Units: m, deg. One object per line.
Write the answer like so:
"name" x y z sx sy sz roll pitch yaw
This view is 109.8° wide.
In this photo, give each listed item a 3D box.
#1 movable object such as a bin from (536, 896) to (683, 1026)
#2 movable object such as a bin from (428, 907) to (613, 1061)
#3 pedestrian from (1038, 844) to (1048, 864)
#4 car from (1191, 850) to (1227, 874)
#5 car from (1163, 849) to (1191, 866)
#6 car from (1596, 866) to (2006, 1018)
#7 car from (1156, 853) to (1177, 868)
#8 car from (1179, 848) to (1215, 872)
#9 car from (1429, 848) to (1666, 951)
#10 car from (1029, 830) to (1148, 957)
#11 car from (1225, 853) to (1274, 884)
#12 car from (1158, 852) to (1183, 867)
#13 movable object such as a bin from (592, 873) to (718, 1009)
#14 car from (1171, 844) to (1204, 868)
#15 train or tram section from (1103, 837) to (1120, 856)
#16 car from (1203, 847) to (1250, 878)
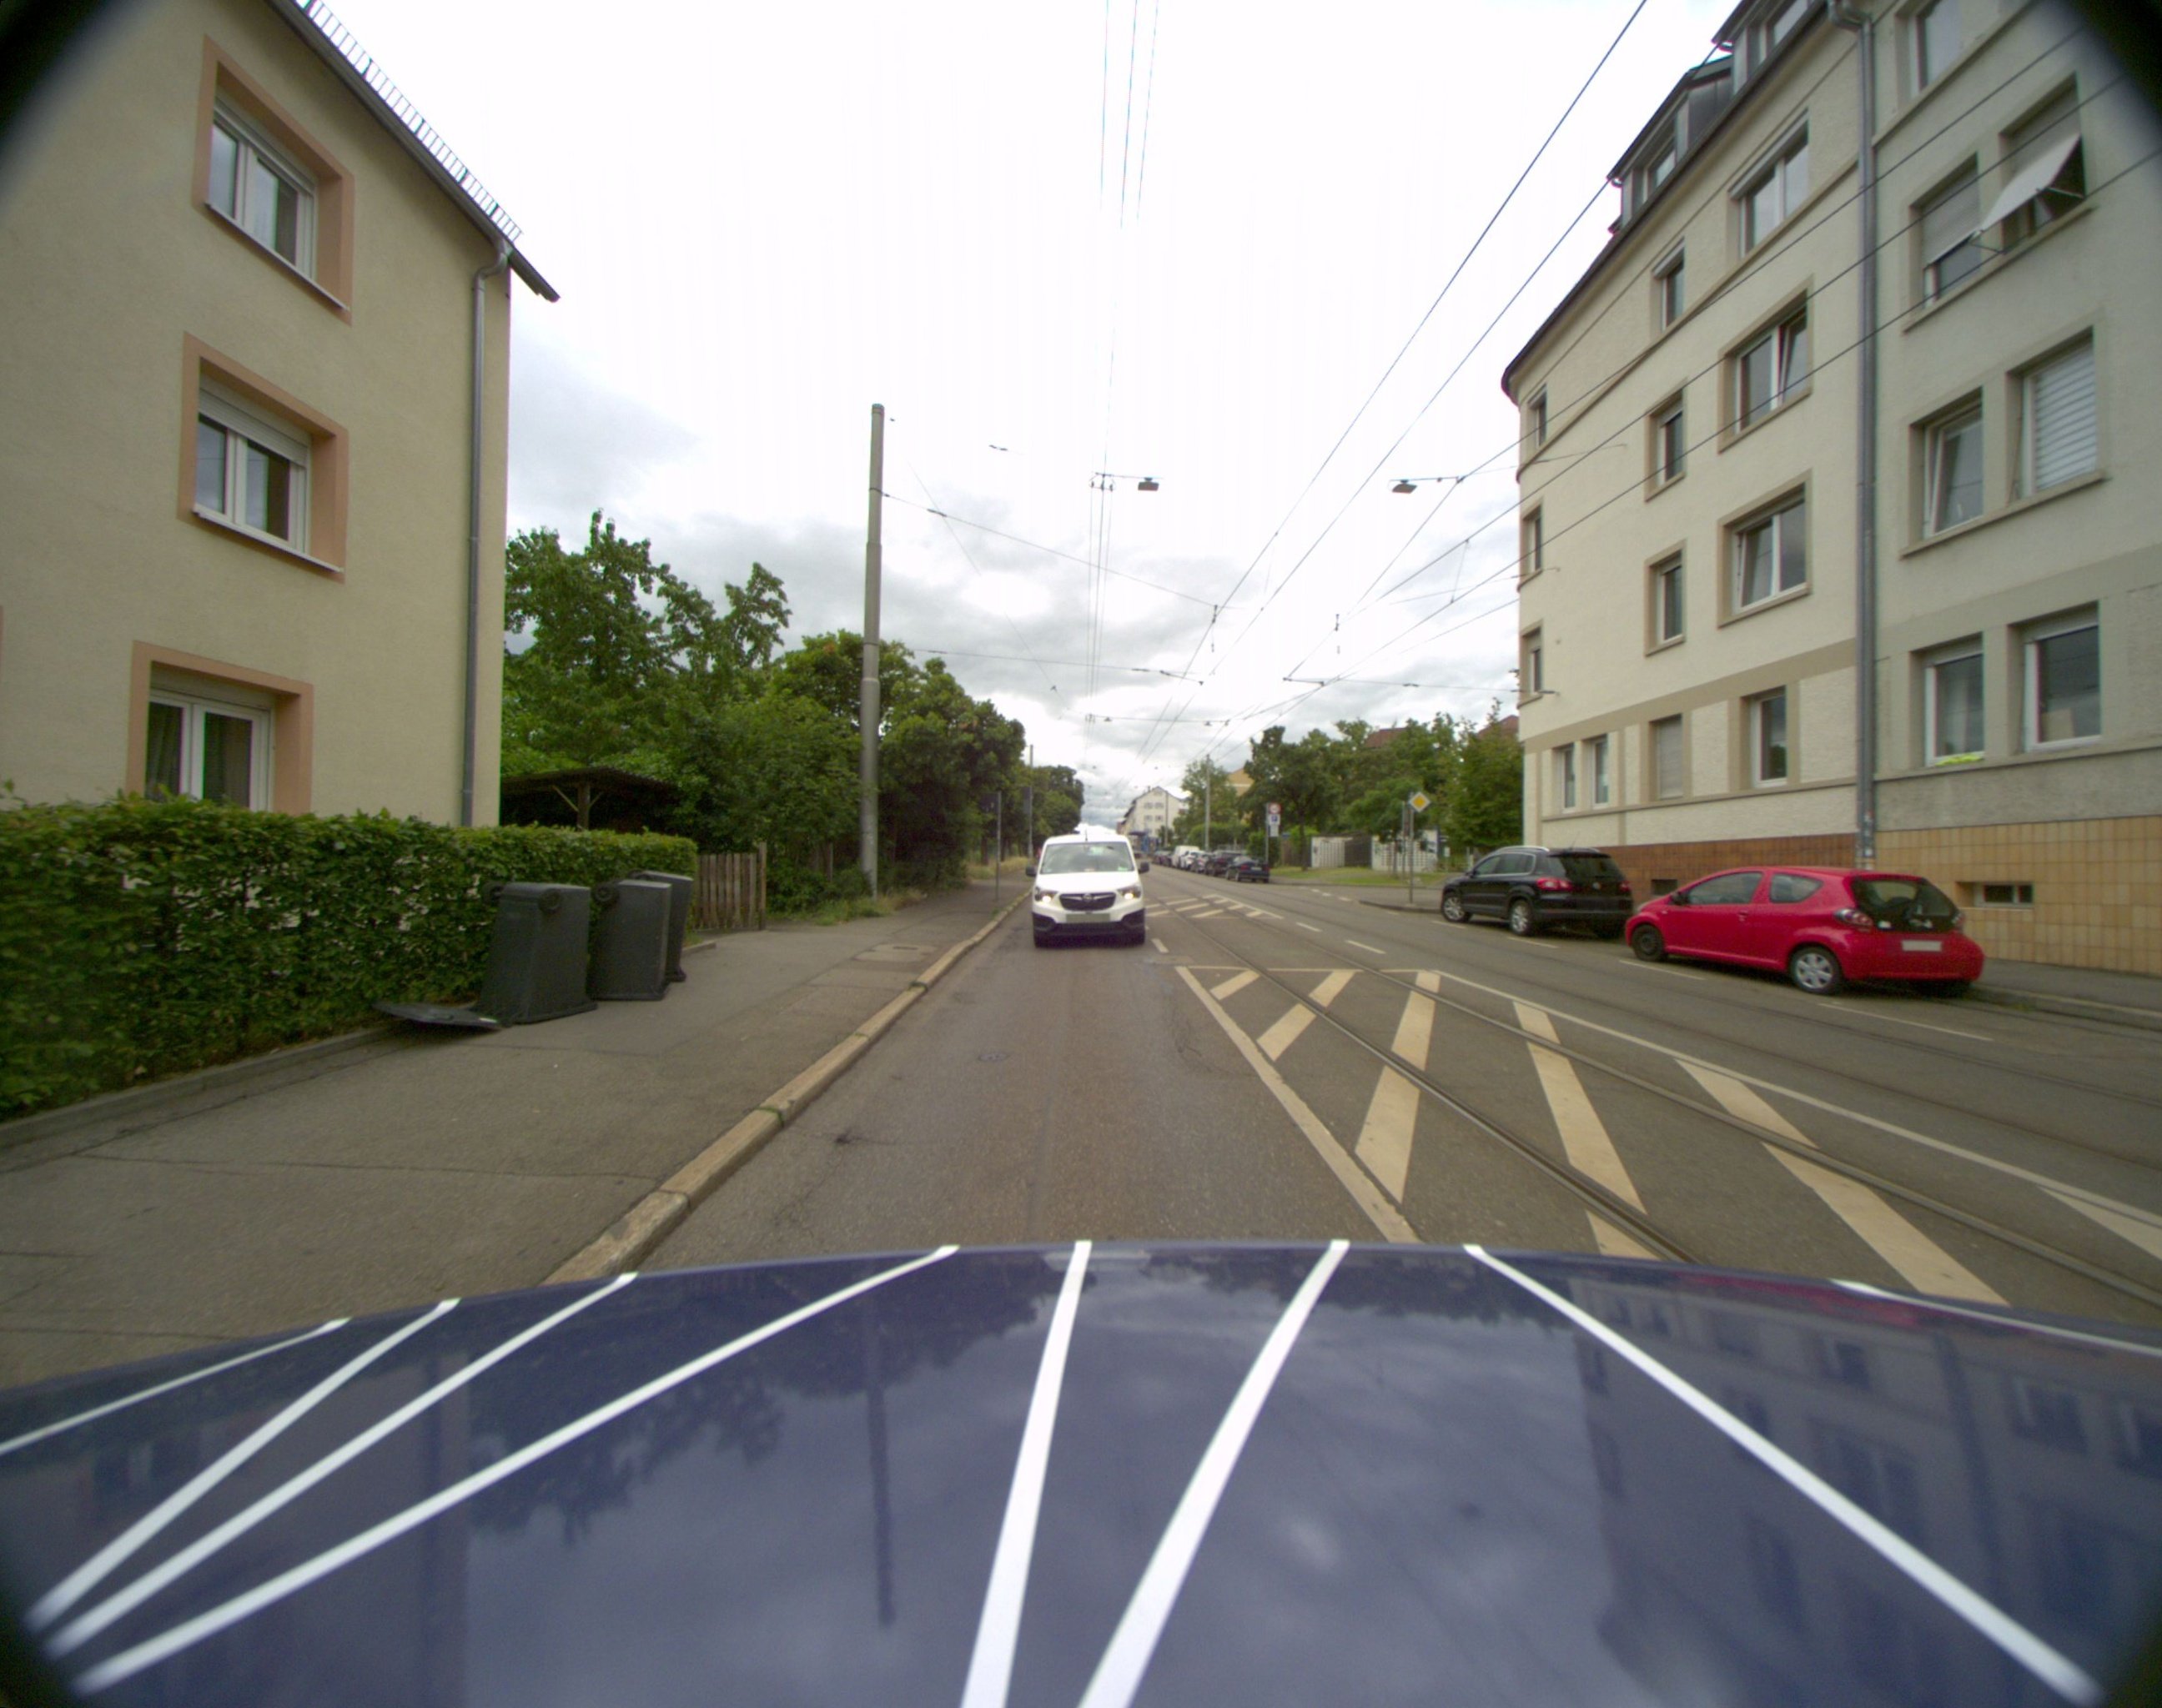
"movable object such as a bin" -4.037 0.891 6.564 0.794 1.006 0.789 1 1 -3
"movable object such as a bin" -4.182 0.941 5.732 0.794 1.006 0.789 1 1 2
"pedestrian" -3.044 -0.004 60.964 0.716 1.611 0.718 1 1 0
"car" 8.921 0.512 53.216 1.743 1.500 3.868 2 1 -1
"car" 8.752 0.331 69.748 1.845 1.379 4.516 2 1 -1
"car" 8.966 0.982 9.981 1.625 1.455 3.743 1 1 -4
"car" 9.248 0.701 82.398 1.794 1.396 4.160 2 1 -1
"car" 8.876 0.435 58.602 1.974 1.677 4.631 2 1 -1
"car" 8.896 0.749 15.061 1.872 1.636 4.400 2 1 -1
"car" 0.159 0.570 13.430 1.730 1.850 4.420 1 0 1
"car" 8.919 0.728 40.547 1.625 1.469 4.155 2 1 -1
"car" 8.992 0.554 76.608 1.845 1.379 4.438 2 1 -1
"movable object such as a bin" -4.099 0.812 7.366 0.794 1.211 0.789 1 1 -3
"car" 9.009 0.119 64.595 1.974 1.902 4.733 2 1 -1
"train or tram section" 6.086 -1.525 152.931 2.857 3.615 12.128 1 1 0
"car" 8.919 0.491 46.931 1.974 1.677 4.442 2 1 -1
